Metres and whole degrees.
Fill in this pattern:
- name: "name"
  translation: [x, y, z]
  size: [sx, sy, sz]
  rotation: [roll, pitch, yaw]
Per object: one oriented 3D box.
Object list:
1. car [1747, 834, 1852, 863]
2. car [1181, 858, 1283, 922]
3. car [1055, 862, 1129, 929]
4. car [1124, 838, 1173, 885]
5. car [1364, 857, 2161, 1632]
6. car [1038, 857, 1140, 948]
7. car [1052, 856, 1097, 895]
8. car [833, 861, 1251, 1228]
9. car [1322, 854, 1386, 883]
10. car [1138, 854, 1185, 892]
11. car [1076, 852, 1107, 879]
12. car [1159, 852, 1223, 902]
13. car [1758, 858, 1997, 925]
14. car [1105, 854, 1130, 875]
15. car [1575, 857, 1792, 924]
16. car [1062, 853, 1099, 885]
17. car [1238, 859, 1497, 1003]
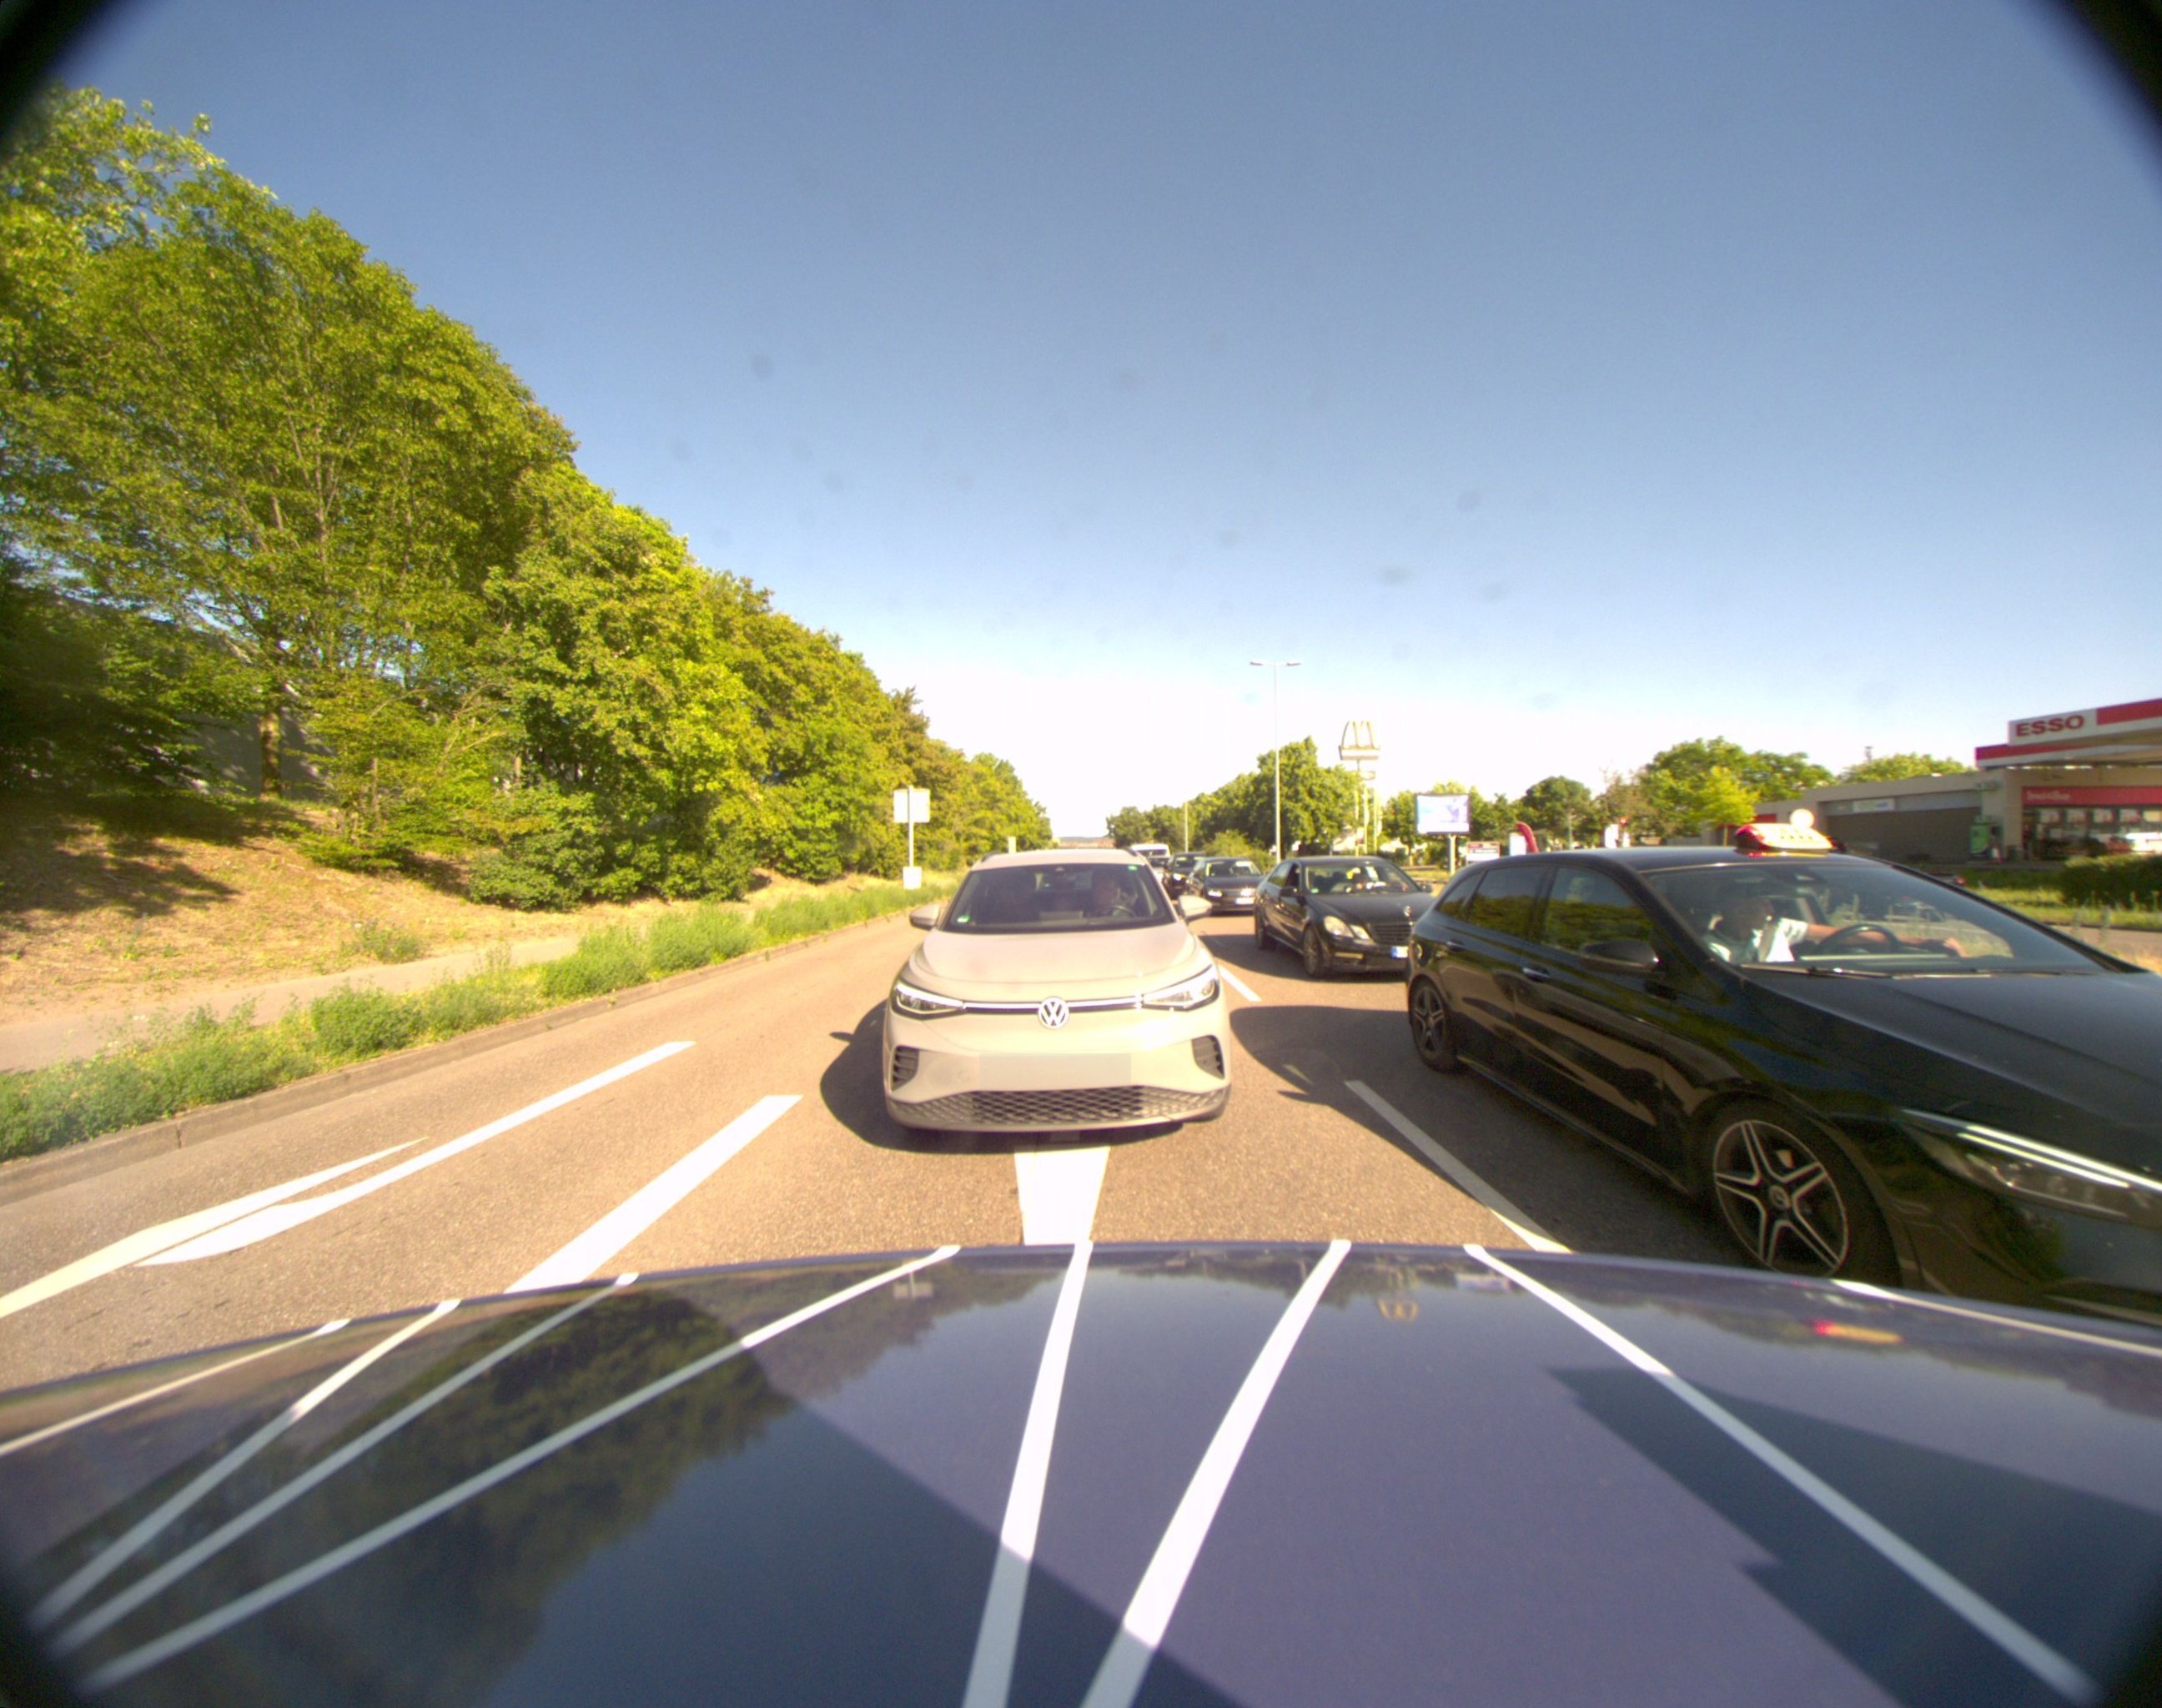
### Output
- name: "car"
  translation: [37.476, -0.277, 39.753]
  size: [1.682, 1.401, 3.978]
  rotation: [1, 1, 0]
- name: "car"
  translation: [3.870, 0.863, 20.215]
  size: [1.797, 1.419, 4.287]
  rotation: [-2, 0, 0]
- name: "car"
  translation: [0.263, 1.041, 20.926]
  size: [1.763, 1.482, 4.402]
  rotation: [-2, 1, 0]
- name: "car"
  translation: [3.650, 0.388, 42.192]
  size: [2.019, 2.349, 6.523]
  rotation: [-2, 0, 0]
- name: "car"
  translation: [3.089, 0.820, 3.652]
  size: [1.763, 1.482, 4.402]
  rotation: [-2, 1, 0]
- name: "car"
  translation: [0.133, 0.874, 15.758]
  size: [1.763, 1.482, 4.402]
  rotation: [-2, 1, 0]
- name: "car"
  translation: [-0.260, 0.883, 33.033]
  size: [1.763, 1.482, 4.402]
  rotation: [-2, 1, 0]
- name: "car"
  translation: [-0.183, 0.900, 5.701]
  size: [1.862, 1.573, 4.403]
  rotation: [-2, 0, 0]
- name: "car"
  translation: [15.983, 0.824, 44.785]
  size: [1.764, 1.482, 4.878]
  rotation: [2, 1, -3]
- name: "car"
  translation: [3.571, 0.794, 34.164]
  size: [1.635, 1.547, 3.777]
  rotation: [-2, 0, 0]
- name: "car"
  translation: [0.601, 0.694, 47.021]
  size: [1.763, 1.482, 4.402]
  rotation: [-2, 1, 0]
- name: "car"
  translation: [3.902, 0.760, 27.475]
  size: [1.674, 1.607, 3.879]
  rotation: [-2, 0, 0]
- name: "car"
  translation: [19.629, 0.856, 19.028]
  size: [1.763, 1.401, 3.978]
  rotation: [1, 1, 0]
- name: "car"
  translation: [2.902, 0.824, 61.867]
  size: [1.763, 1.607, 4.402]
  rotation: [-2, 1, 0]
- name: "car"
  translation: [14.848, 0.837, 19.093]
  size: [1.733, 1.401, 4.303]
  rotation: [1, 1, -5]
- name: "car"
  translation: [-0.046, 0.715, 39.854]
  size: [1.763, 1.482, 4.402]
  rotation: [-2, 1, 0]
- name: "car"
  translation: [3.587, 0.853, 10.499]
  size: [1.868, 1.430, 4.402]
  rotation: [-2, 1, 0]
